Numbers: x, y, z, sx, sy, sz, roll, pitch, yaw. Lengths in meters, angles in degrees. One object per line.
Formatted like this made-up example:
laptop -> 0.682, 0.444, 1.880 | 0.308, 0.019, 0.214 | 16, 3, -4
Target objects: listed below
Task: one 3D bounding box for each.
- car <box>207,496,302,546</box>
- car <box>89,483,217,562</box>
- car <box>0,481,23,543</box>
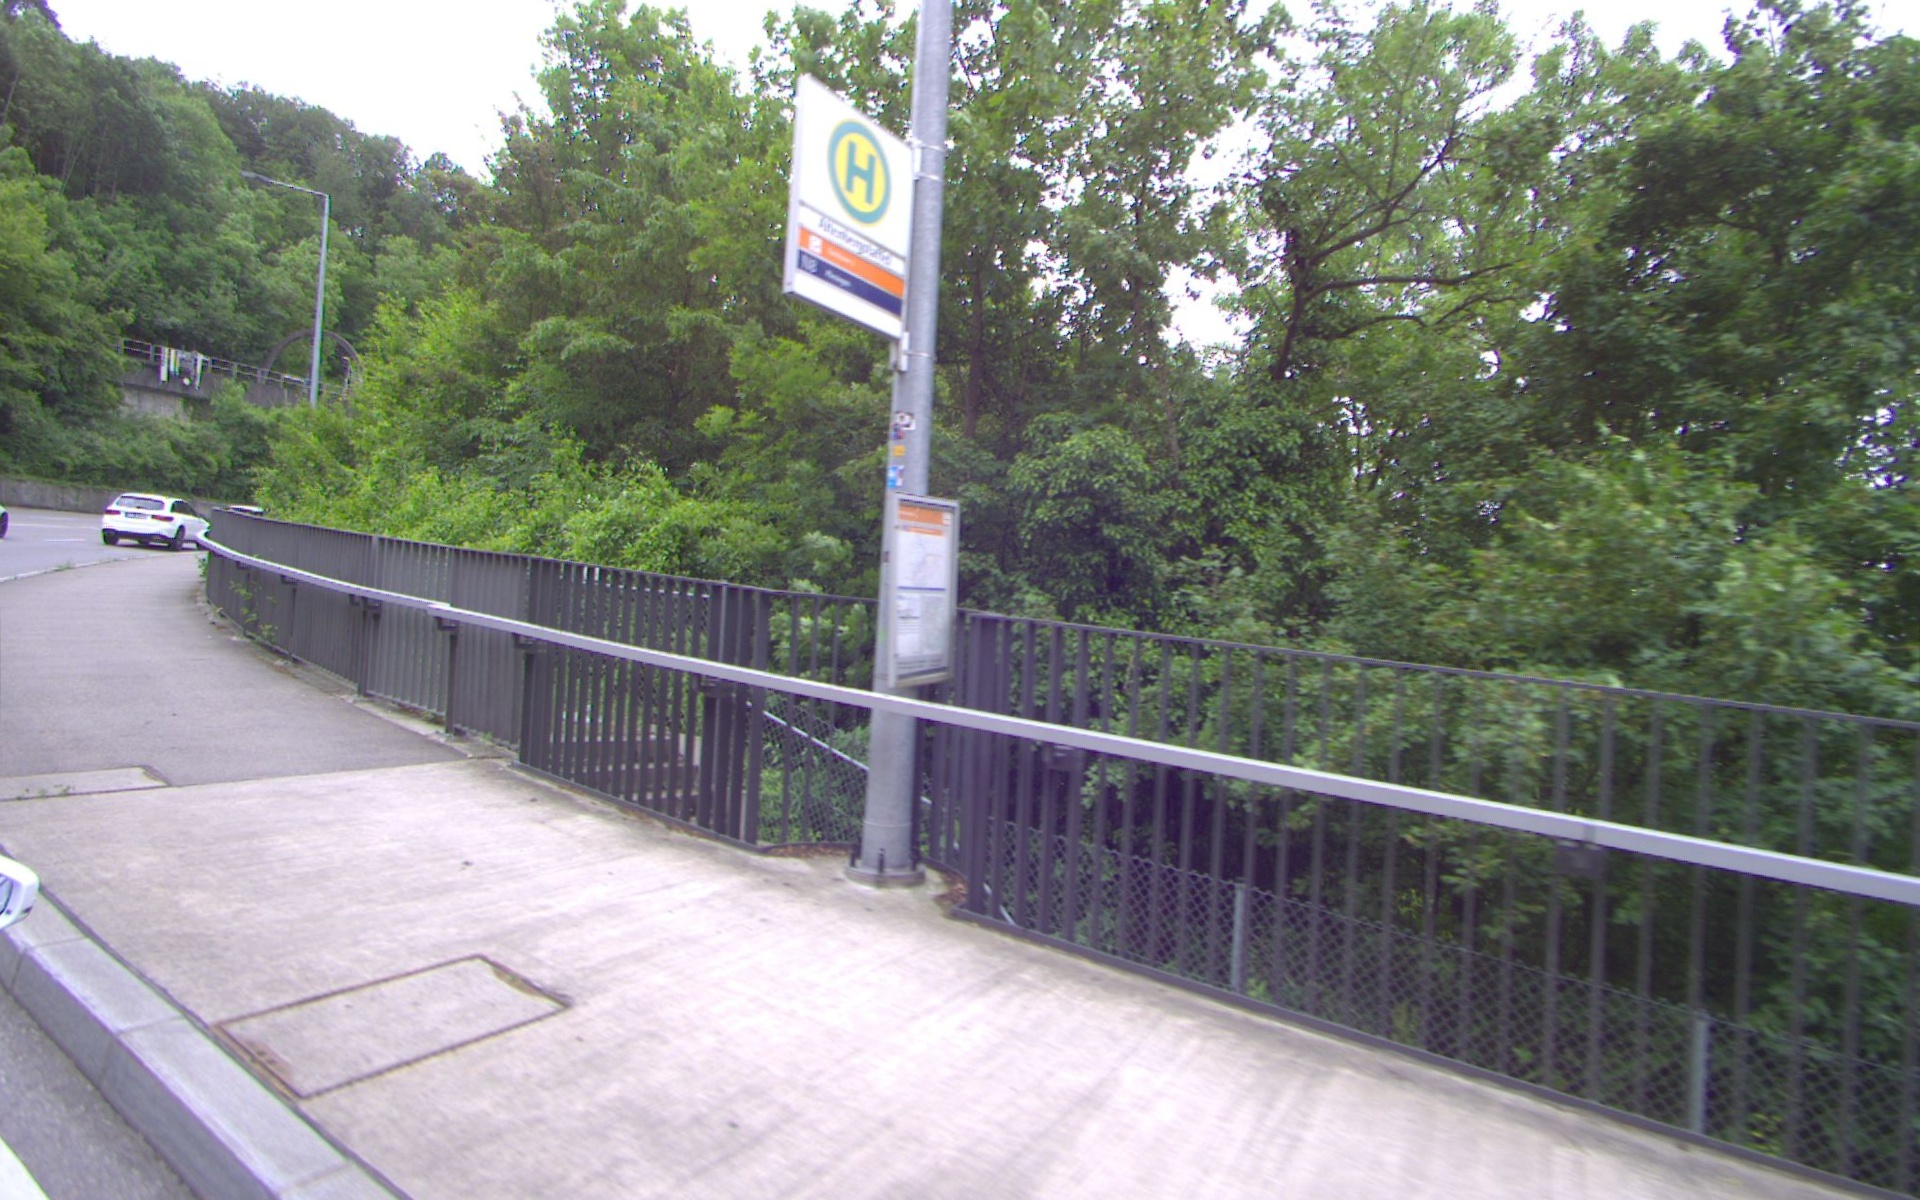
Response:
car -> -32.898, -3.646, 47.081 | 1.717, 1.535, 4.308 | 8, -3, -8
car -> -25.438, -2.373, 31.895 | 1.976, 1.863, 4.130 | 9, -4, -24
car -> -25.264, -2.419, 24.587 | 1.978, 1.574, 4.651 | 11, -3, -26
